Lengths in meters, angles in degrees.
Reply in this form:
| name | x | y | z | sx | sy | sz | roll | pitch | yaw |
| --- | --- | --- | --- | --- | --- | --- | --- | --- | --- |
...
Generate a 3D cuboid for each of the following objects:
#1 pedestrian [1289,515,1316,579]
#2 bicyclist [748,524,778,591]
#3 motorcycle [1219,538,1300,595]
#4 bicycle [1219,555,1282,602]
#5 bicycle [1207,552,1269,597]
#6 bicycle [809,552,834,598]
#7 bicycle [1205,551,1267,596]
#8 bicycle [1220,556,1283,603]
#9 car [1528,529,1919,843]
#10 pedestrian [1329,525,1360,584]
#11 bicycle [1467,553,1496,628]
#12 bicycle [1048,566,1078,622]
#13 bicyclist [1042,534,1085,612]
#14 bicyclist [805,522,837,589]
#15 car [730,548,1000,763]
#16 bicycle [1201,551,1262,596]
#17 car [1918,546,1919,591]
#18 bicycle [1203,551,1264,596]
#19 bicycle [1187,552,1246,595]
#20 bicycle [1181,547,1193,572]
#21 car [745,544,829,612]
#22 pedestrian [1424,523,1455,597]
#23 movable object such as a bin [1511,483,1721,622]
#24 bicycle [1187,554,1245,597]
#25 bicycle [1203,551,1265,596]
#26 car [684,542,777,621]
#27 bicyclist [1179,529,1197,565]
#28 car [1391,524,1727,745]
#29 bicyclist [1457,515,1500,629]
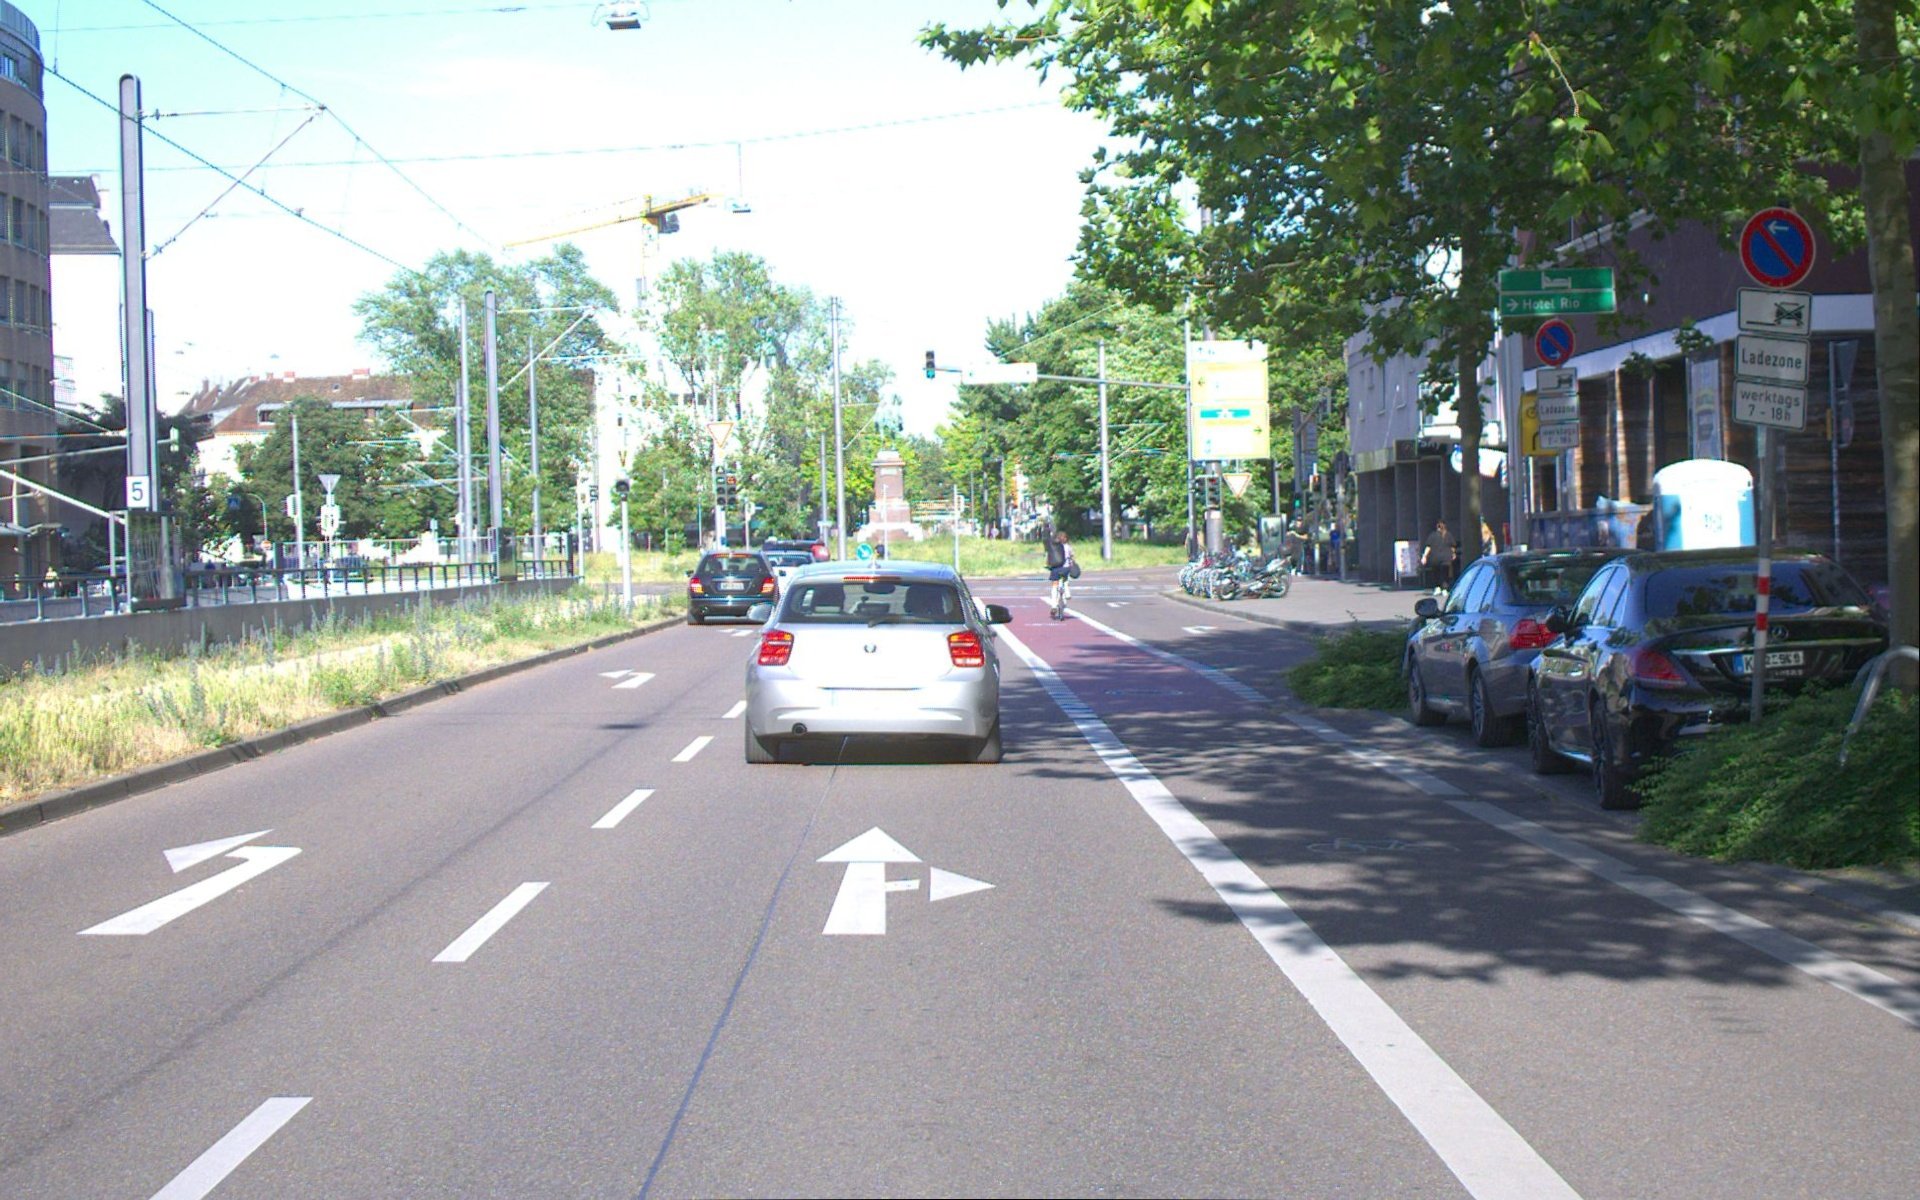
| name | x | y | z | sx | sy | sz | roll | pitch | yaw |
| --- | --- | --- | --- | --- | --- | --- | --- | --- | --- |
| pedestrian | 10.786 | -1.667 | 108.235 | 0.791 | 2.007 | 0.870 | 1 | 0 | 7 |
| bicyclist | -4.607 | -0.993 | 80.300 | 0.616 | 1.566 | 0.686 | 1 | 0 | 1 |
| motorcycle | 6.968 | -0.790 | 80.025 | 1.855 | 1.296 | 0.652 | -1 | 1 | 3 |
| bicycle | 6.922 | -0.516 | 82.029 | 1.465 | 1.063 | 0.257 | -2 | 0 | 2 |
| bicycle | 6.726 | -0.620 | 83.173 | 1.465 | 1.063 | 0.257 | -2 | 0 | 2 |
| bicycle | -3.252 | -0.585 | 80.588 | 0.338 | 1.053 | 1.779 | -1 | 1 | -10 |
| bicycle | 6.752 | -0.640 | 84.112 | 1.465 | 1.063 | 0.257 | -2 | 0 | 2 |
| bicycle | 6.919 | -0.485 | 81.662 | 1.465 | 1.063 | 0.257 | -2 | 0 | 2 |
| car | 4.542 | 0.371 | 18.882 | 2.038 | 1.504 | 4.594 | 0 | 1 | 0 |
| pedestrian | 12.162 | -1.424 | 108.688 | 0.826 | 1.850 | 0.916 | 1 | 1 | 14 |
| bicycle | 7.780 | -0.146 | 51.255 | 0.317 | 1.081 | 1.684 | -1 | 1 | 12 |
| bicycle | 2.022 | -0.121 | 67.893 | 0.499 | 1.085 | 1.997 | 1 | 1 | 0 |
| bicyclist | 2.037 | -0.530 | 67.945 | 0.785 | 1.526 | 0.895 | 1 | 1 | 0 |
| bicyclist | -3.256 | -1.043 | 80.558 | 0.616 | 1.566 | 0.686 | -1 | 1 | -12 |
| car | -0.661 | 0.342 | 25.084 | 1.798 | 1.410 | 4.000 | -1 | 1 | -1 |
| bicycle | 6.723 | -0.661 | 85.152 | 1.465 | 1.063 | 0.257 | -2 | 0 | 2 |
| car | 4.582 | 0.538 | 11.312 | 1.694 | 1.497 | 3.801 | -3 | 1 | -1 |
| bicycle | 6.737 | -0.657 | 84.829 | 1.465 | 1.063 | 0.257 | -2 | 0 | 2 |
| bicycle | 6.632 | -0.684 | 88.856 | 1.465 | 1.063 | 0.257 | -2 | 0 | 2 |
| bicycle | 8.634 | -1.548 | 130.739 | 0.352 | 0.955 | 1.573 | 1 | 1 | 1 |
| car | -3.756 | -0.490 | 75.051 | 1.644 | 1.416 | 4.000 | 1 | 1 | 0 |
| pedestrian | 10.285 | -0.853 | 73.809 | 0.573 | 1.577 | 0.556 | -1 | 1 | 0 |
| movable object such as a bin | 9.142 | -0.701 | 48.151 | 1.945 | 1.837 | 3.481 | -1 | 2 | -6 |
| bicycle | 6.662 | -0.638 | 89.517 | 1.465 | 1.063 | 0.257 | -2 | 0 | 2 |
| bicycle | 6.731 | -0.651 | 84.485 | 1.465 | 1.063 | 0.257 | -2 | 0 | 2 |
| car | -4.429 | -0.377 | 66.871 | 1.726 | 1.465 | 4.411 | 0 | 1 | -3 |
| bicyclist | 8.665 | -2.007 | 130.752 | 0.616 | 1.375 | 0.686 | 1 | 0 | 1 |
| car | 4.541 | 0.206 | 26.680 | 1.789 | 1.550 | 4.436 | -1 | 1 | 0 |
| bicyclist | 7.736 | -0.425 | 51.276 | 0.601 | 1.684 | 0.597 | -1 | 1 | 10 |
